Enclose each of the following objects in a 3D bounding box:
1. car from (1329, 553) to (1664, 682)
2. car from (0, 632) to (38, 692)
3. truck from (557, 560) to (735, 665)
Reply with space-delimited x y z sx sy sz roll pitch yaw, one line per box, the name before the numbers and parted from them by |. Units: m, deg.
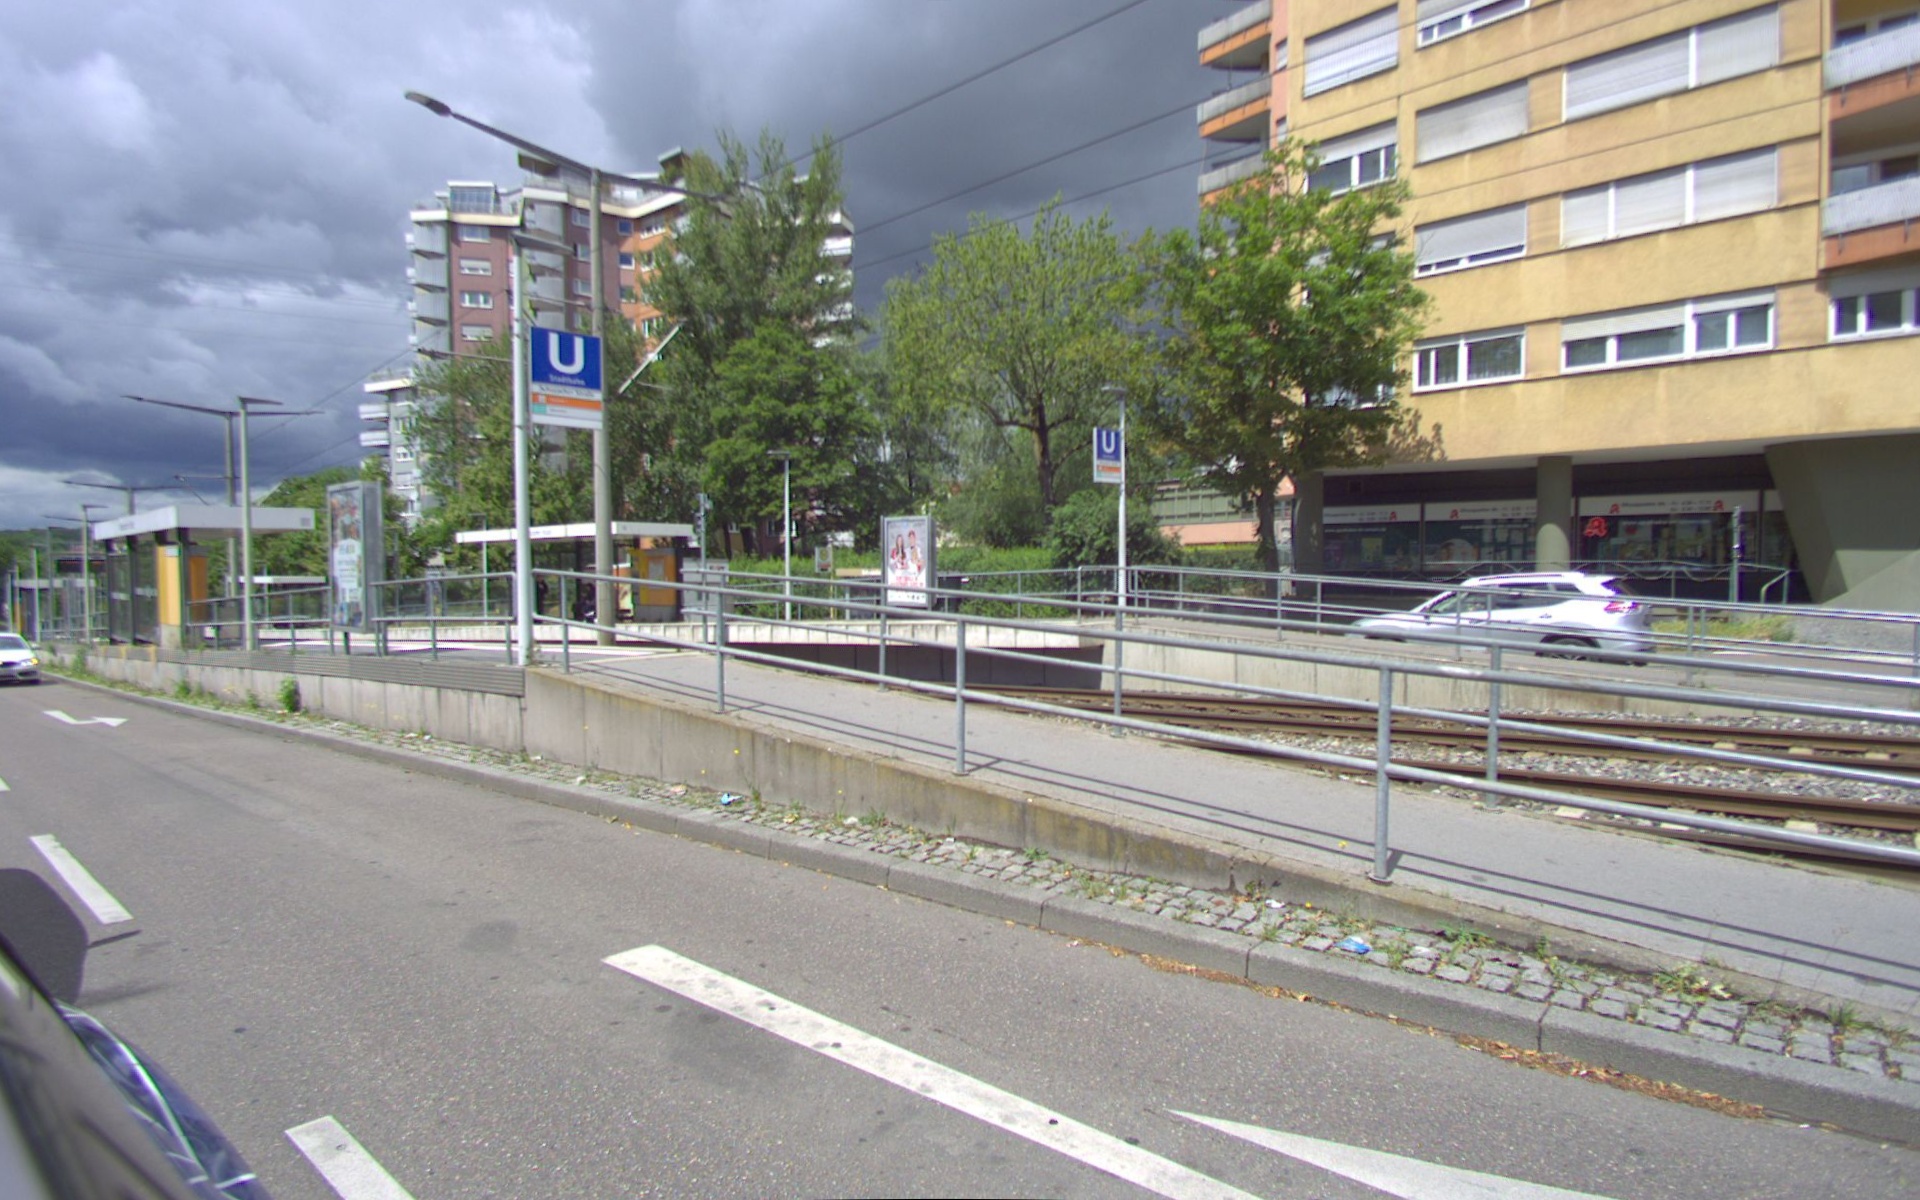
car | 8.671 0.296 16.592 4.508 1.815 1.972 -1 -2 42
car | -26.250 1.649 27.235 3.998 1.472 1.710 -1 0 42
truck | -10.867 0.493 34.588 7.260 3.247 2.389 -2 -1 42
